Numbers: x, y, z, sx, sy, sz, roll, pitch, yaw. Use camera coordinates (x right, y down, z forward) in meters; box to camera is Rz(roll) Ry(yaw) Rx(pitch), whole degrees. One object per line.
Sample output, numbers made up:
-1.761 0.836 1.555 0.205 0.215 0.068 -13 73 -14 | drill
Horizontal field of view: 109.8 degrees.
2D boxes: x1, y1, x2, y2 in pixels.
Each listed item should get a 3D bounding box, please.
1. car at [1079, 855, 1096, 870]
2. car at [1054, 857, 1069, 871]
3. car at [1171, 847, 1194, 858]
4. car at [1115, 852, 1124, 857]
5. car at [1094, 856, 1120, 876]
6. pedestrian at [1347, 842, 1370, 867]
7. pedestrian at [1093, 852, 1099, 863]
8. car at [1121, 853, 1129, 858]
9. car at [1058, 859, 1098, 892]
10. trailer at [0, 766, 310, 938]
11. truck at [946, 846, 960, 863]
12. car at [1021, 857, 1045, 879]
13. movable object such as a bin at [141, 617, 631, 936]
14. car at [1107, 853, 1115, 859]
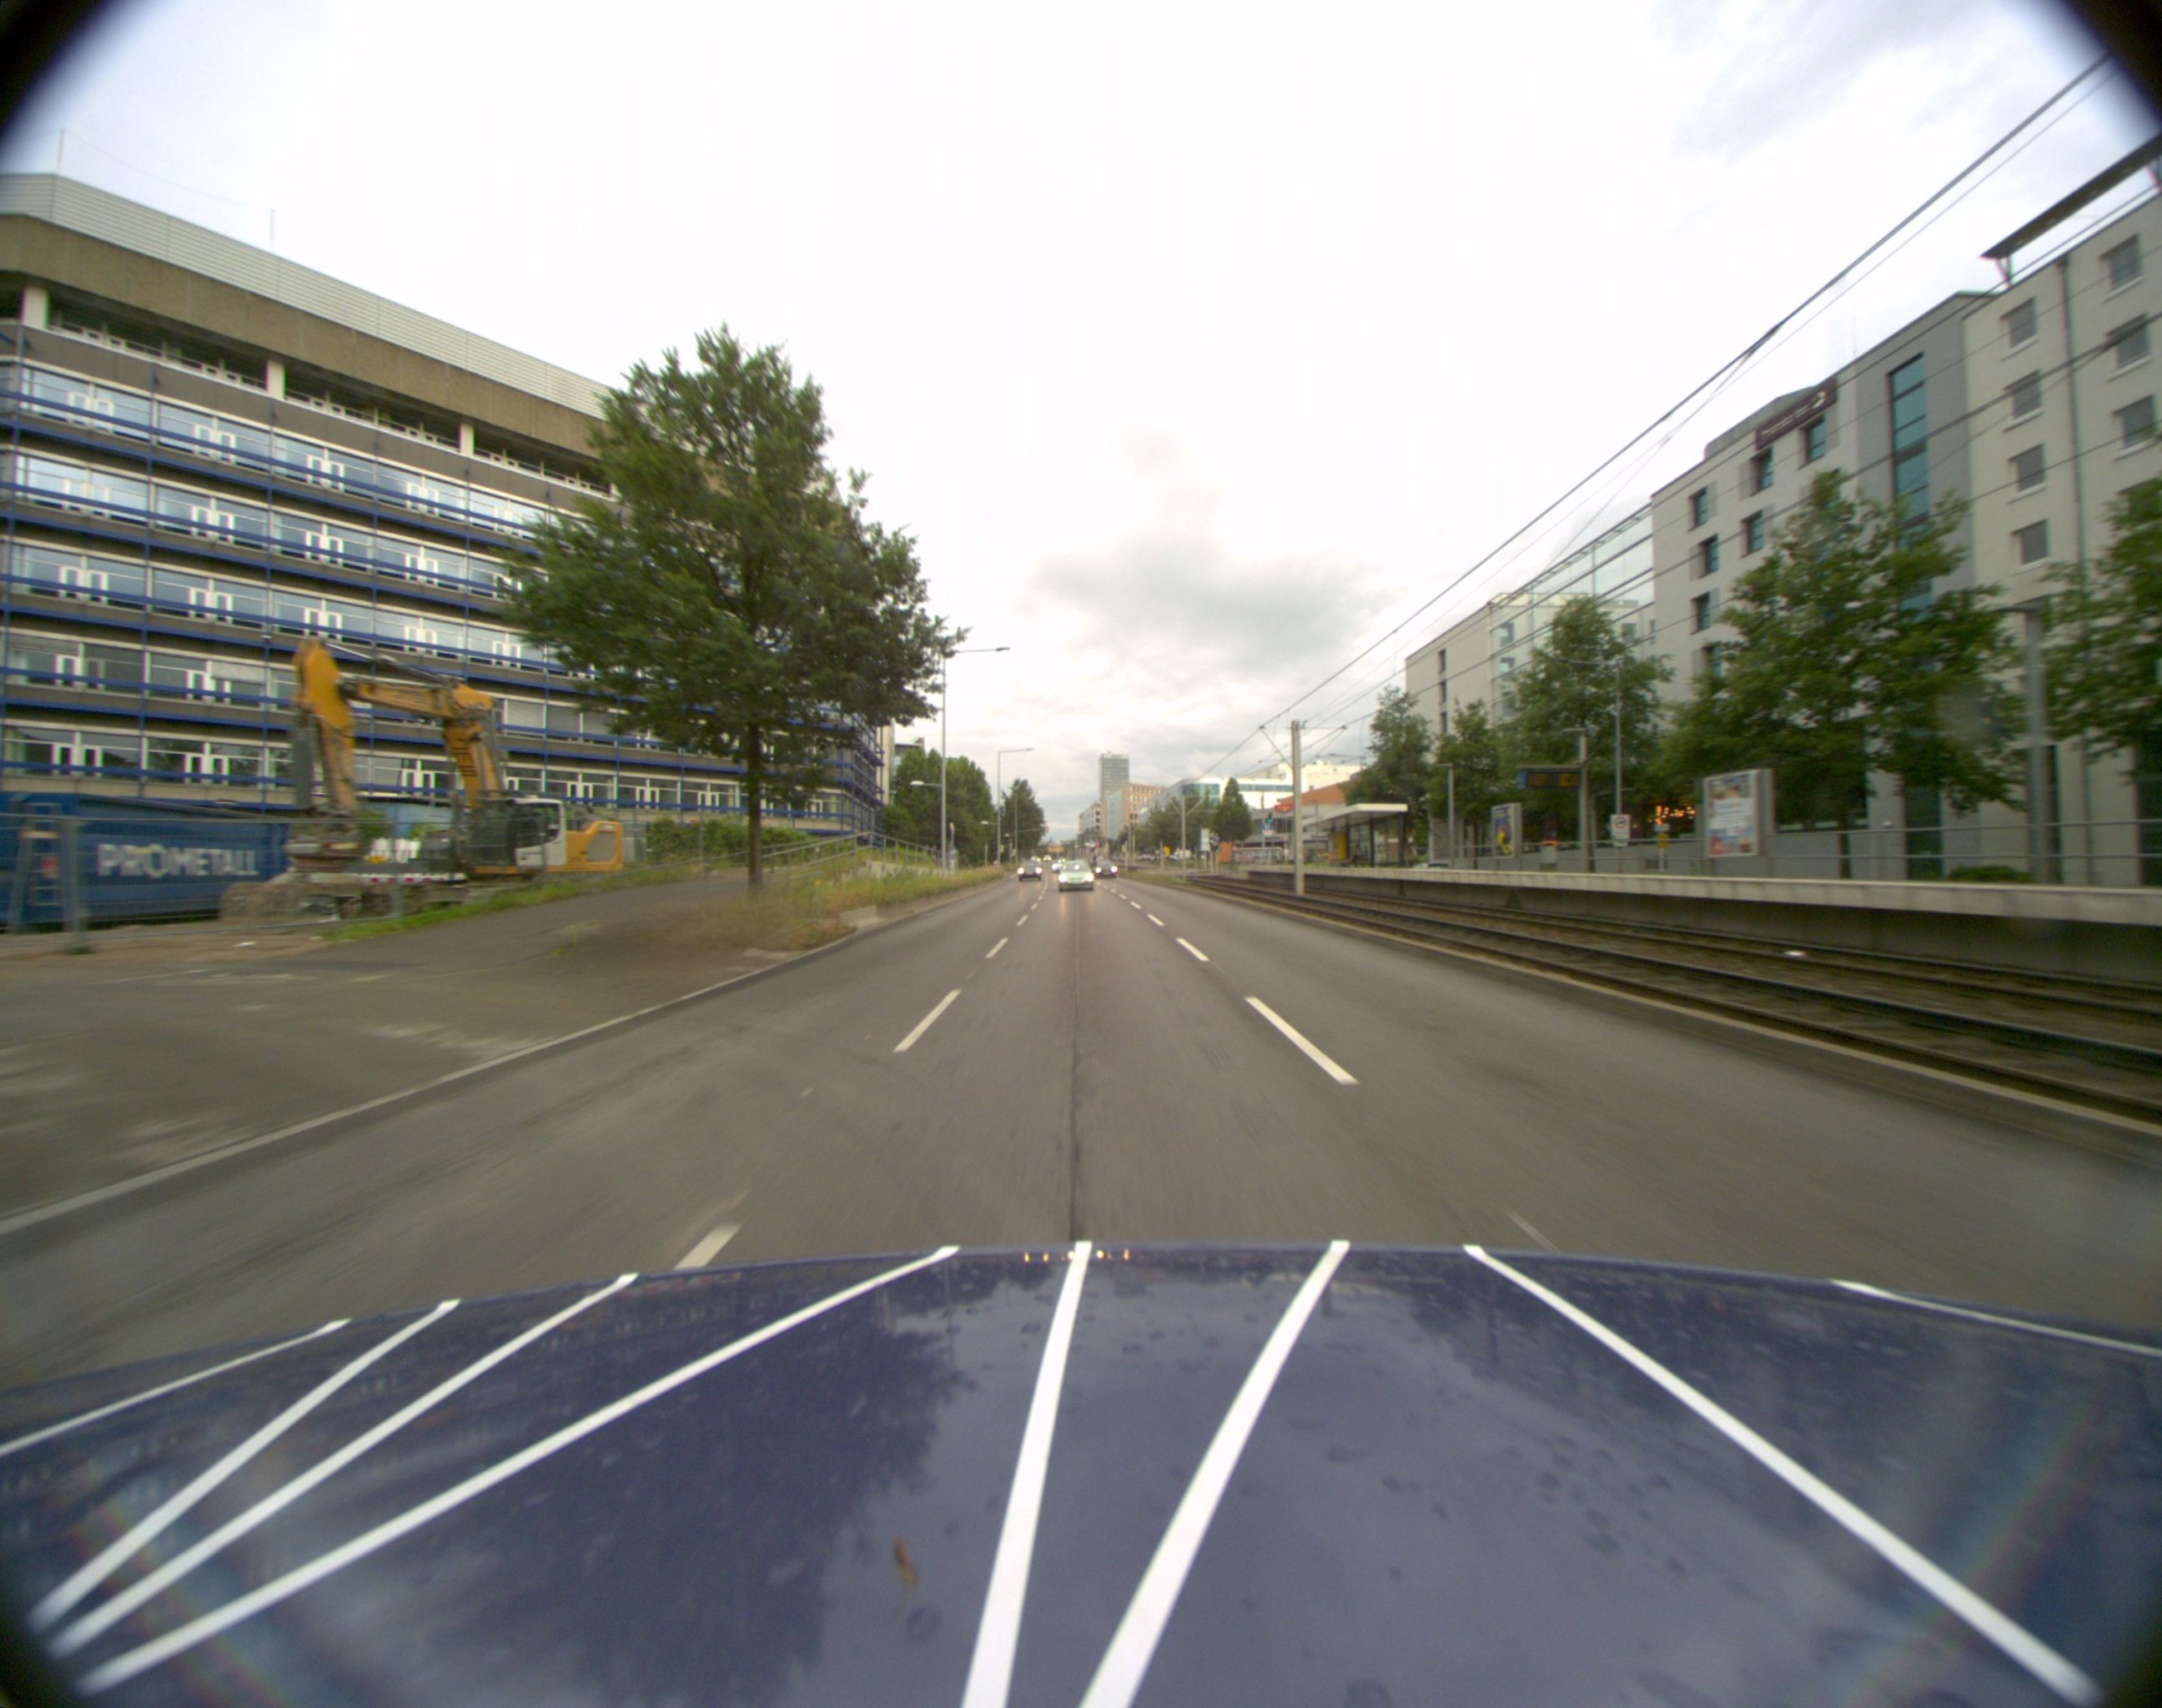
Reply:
0.731 1.016 90.753 1.781 1.670 4.129 -2 0 -3 | car
-2.414 1.234 93.938 1.781 1.552 3.738 -2 0 -3 | car
26.263 -0.490 197.254 5.489 2.614 2.275 -3 1 -20 | car
10.759 0.140 213.255 1.859 1.419 4.386 1 0 -5 | car
2.106 0.980 62.538 1.799 1.493 3.999 -2 0 -2 | car
14.490 0.012 39.681 0.964 1.292 0.684 -1 0 -1 | pedestrian
2.250 0.464 113.845 0.704 1.641 0.648 -2 0 -31 | pedestrian
11.324 0.402 194.939 1.733 1.415 3.778 -1 0 -3 | car
-0.195 1.034 38.637 1.804 1.533 4.373 -2 0 -3 | car
-20.751 -0.007 16.699 2.649 3.025 7.483 -3 1 -24 | trailer
-19.464 0.091 115.259 1.751 2.503 3.997 -2 1 -6 | truck
-3.891 1.091 62.035 1.816 1.660 4.547 -2 0 -3 | car
-15.171 -1.446 18.158 3.298 5.652 8.762 -2 1 1 | movable object such as a bin
9.186 0.571 230.869 1.999 1.764 4.387 -1 0 -3 | car
